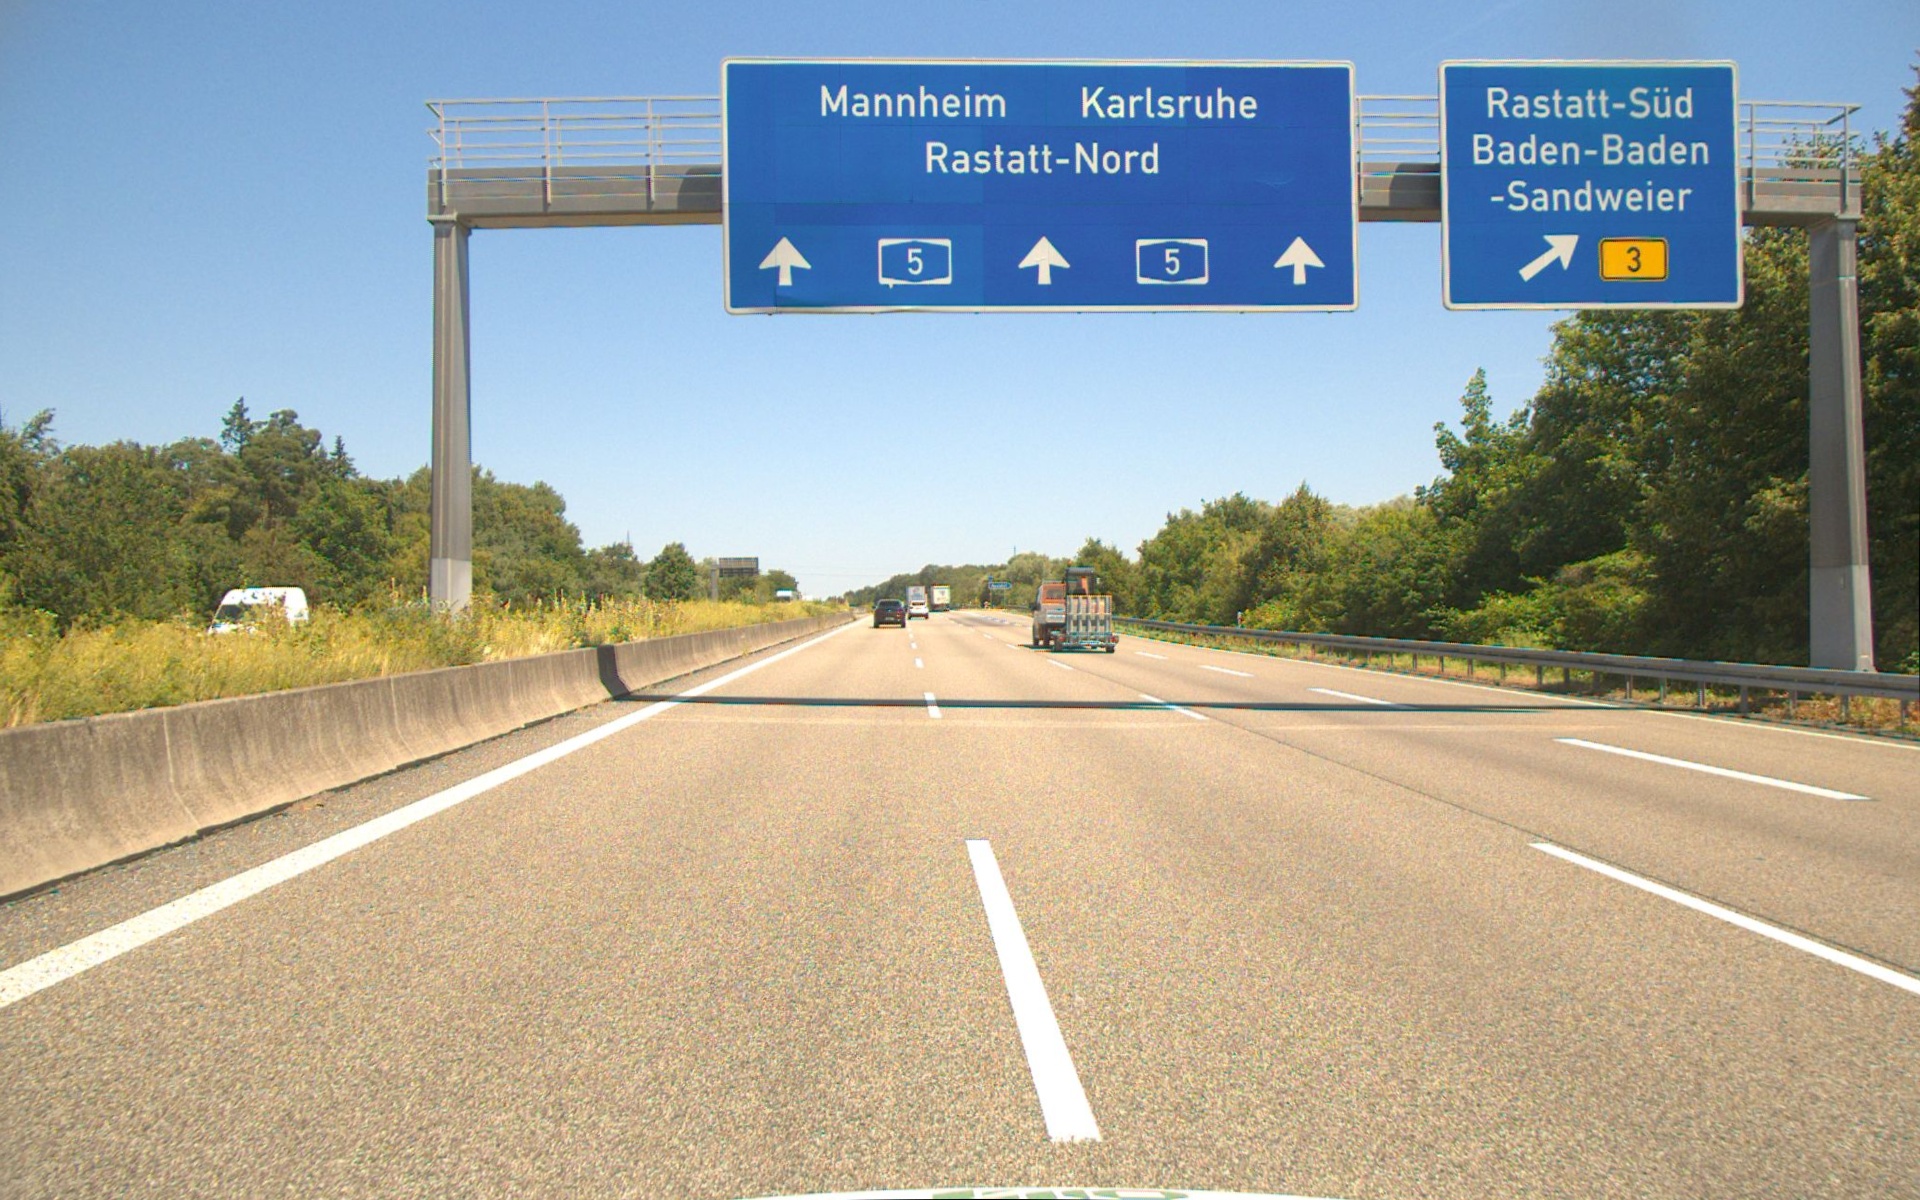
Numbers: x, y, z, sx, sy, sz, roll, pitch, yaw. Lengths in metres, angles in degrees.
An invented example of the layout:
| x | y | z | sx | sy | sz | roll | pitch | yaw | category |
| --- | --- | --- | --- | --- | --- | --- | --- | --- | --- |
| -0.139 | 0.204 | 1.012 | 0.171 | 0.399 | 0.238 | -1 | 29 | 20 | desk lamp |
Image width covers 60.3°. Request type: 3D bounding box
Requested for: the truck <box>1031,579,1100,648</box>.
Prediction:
| x | y | z | sx | sy | sz | roll | pitch | yaw | category |
| --- | --- | --- | --- | --- | --- | --- | --- | --- | --- |
| 3.803 | 0.495 | 60.509 | 1.954 | 2.415 | 4.641 | 0 | 0 | -4 | truck |

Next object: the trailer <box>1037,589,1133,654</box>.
| x | y | z | sx | sy | sz | roll | pitch | yaw | category |
| --- | --- | --- | --- | --- | --- | --- | --- | --- | --- |
| 4.091 | 0.687 | 55.157 | 2.373 | 2.049 | 6.029 | 0 | 0 | -4 | trailer |

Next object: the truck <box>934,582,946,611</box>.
| x | y | z | sx | sy | sz | roll | pitch | yaw | category |
| --- | --- | --- | --- | --- | --- | --- | --- | --- | --- |
| -3.100 | -0.591 | 256.307 | 1.661 | 4.443 | 5.593 | 0 | 0 | -1 | truck |

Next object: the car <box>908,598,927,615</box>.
| x | y | z | sx | sy | sz | roll | pitch | yaw | category |
| --- | --- | --- | --- | --- | --- | --- | --- | --- | --- |
| -3.871 | 0.589 | 150.100 | 1.705 | 1.512 | 3.997 | 0 | -1 | -3 | car |

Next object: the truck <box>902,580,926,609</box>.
| x | y | z | sx | sy | sz | roll | pitch | yaw | category |
| --- | --- | --- | --- | --- | --- | --- | --- | --- | --- |
| -6.750 | -0.776 | 241.974 | 3.243 | 4.064 | 8.398 | 1 | -1 | -3 | truck |

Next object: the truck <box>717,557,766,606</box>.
| x | y | z | sx | sy | sz | roll | pitch | yaw | category |
| --- | --- | --- | --- | --- | --- | --- | --- | --- | --- |
| -32.509 | -2.632 | 246.983 | 5.311 | 7.046 | 17.001 | 0 | 0 | -1 | truck |

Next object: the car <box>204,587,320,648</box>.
| x | y | z | sx | sy | sz | roll | pitch | yaw | category |
| --- | --- | --- | --- | --- | --- | --- | --- | --- | --- |
| -24.671 | 0.606 | 58.658 | 1.953 | 2.049 | 5.185 | 0 | 0 | -1 | car |

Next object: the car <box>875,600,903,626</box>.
| x | y | z | sx | sy | sz | roll | pitch | yaw | category |
| --- | --- | --- | --- | --- | --- | --- | --- | --- | --- |
| -4.434 | 0.813 | 102.444 | 1.627 | 1.576 | 3.780 | 0 | 0 | -4 | car |
